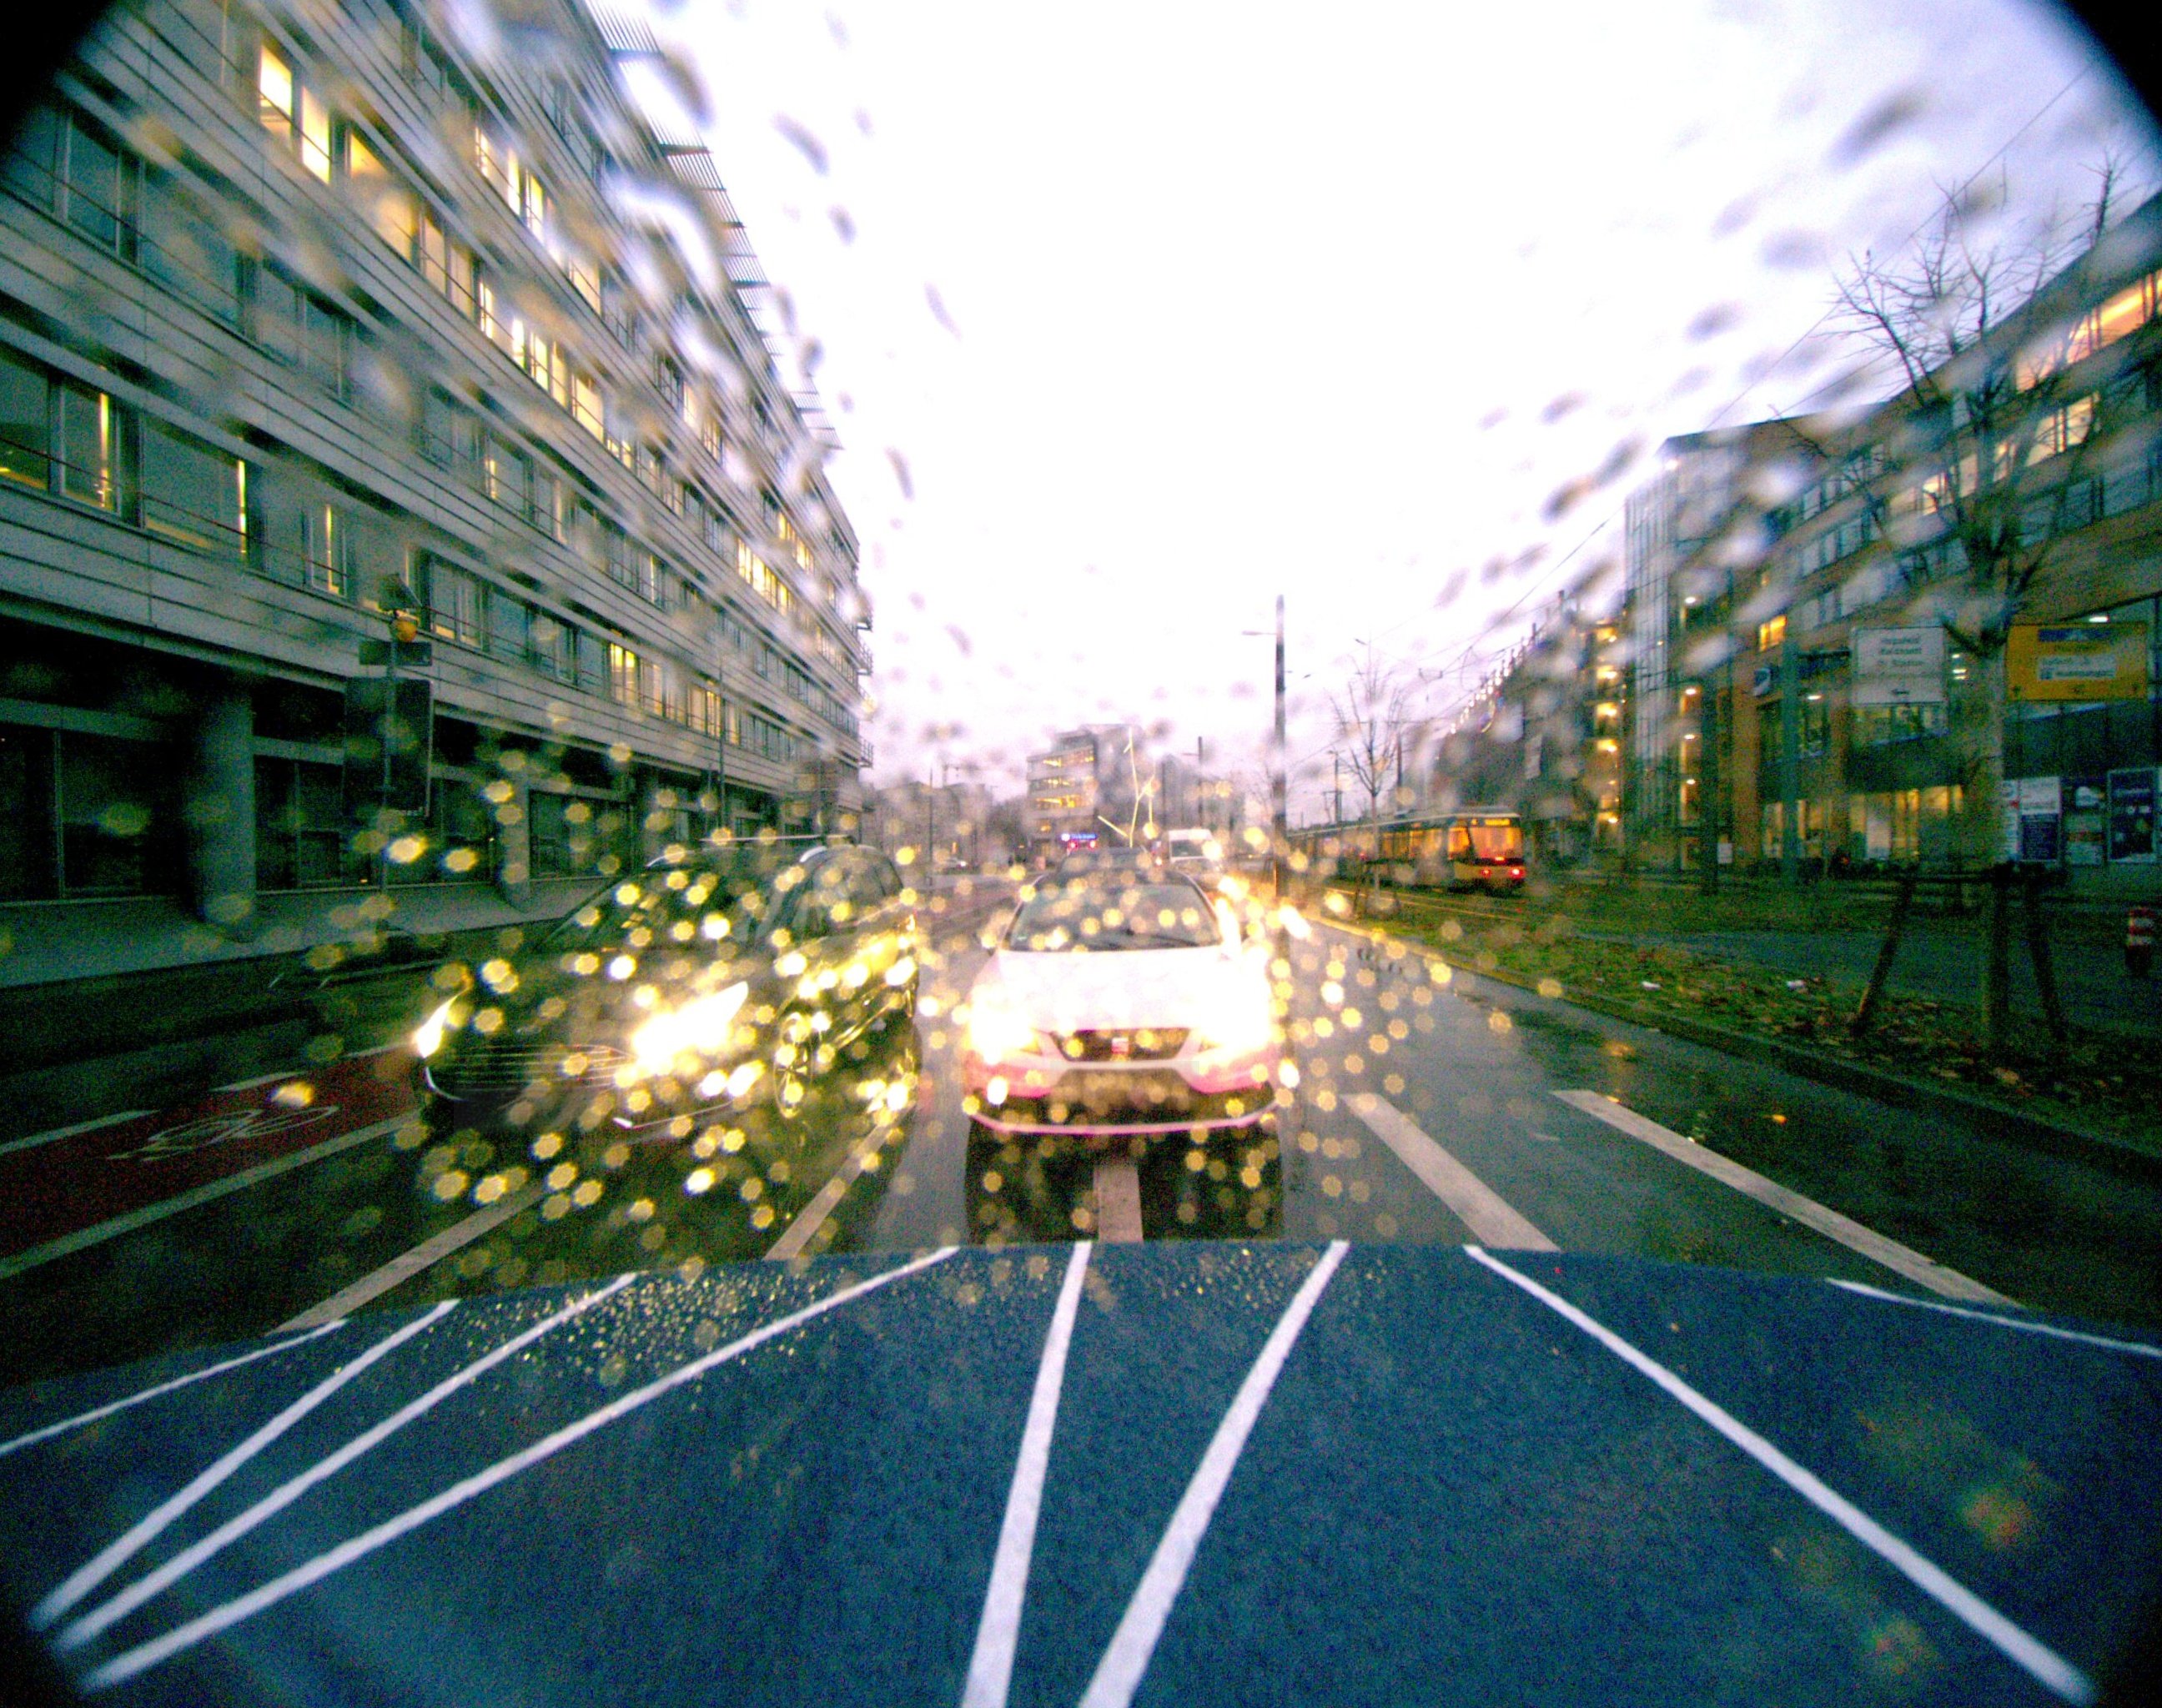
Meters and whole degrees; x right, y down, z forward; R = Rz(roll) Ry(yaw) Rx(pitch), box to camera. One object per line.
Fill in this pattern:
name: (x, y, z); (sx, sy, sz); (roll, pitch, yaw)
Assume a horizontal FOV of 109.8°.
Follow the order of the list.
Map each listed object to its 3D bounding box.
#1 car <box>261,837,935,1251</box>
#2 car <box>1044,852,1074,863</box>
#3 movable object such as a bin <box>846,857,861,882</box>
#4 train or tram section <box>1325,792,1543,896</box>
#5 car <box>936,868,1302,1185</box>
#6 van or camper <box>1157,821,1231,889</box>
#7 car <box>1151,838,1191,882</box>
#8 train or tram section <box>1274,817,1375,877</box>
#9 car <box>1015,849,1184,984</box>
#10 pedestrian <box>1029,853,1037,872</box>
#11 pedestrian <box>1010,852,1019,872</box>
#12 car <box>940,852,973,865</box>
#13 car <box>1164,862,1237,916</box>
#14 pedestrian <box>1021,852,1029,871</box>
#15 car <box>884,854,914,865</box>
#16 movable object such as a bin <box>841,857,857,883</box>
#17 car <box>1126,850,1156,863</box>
car: (-2.607, 0.848, 5.714); (1.887, 1.800, 4.671); (-2, 0, 2)
car: (-3.132, 0.467, 108.076); (3.759, 1.528, 1.782); (0, 0, 17)
movable object such as a bin: (-13.248, 0.919, 44.277); (0.666, 1.420, 0.840); (-1, 1, -2)
train or tram section: (15.356, -0.411, 36.032); (2.870, 3.593, 19.219); (0, 0, 5)
car: (0.214, 0.889, 5.709); (1.782, 1.464, 3.943); (-1, 0, 1)
van or camper: (4.524, 0.030, 31.401); (2.153, 2.517, 5.898); (-1, 0, 0)
car: (6.159, 0.351, 52.596); (2.129, 2.847, 5.813); (-1, 0, 1)
train or tram section: (17.127, -0.490, 55.546); (2.870, 3.593, 20.078); (0, 0, 5)
car: (0.277, 0.806, 12.163); (2.169, 1.744, 4.542); (-1, 0, 1)
pedestrian: (-4.266, 0.715, 67.650); (0.616, 1.659, 0.884); (1, 1, -3)
pedestrian: (-5.958, 0.722, 67.925); (0.747, 1.692, 0.969); (2, 1, -3)
car: (-18.532, 0.665, 112.858); (4.368, 1.750, 2.002); (-1, 1, 17)
car: (3.485, 0.985, 22.827); (1.759, 1.337, 4.056); (-1, 1, 3)
pedestrian: (-5.017, 0.682, 67.608); (0.651, 1.692, 0.884); (1, 1, -3)
car: (-27.839, 0.827, 116.068); (3.996, 1.663, 2.002); (-1, 1, 17)
movable object such as a bin: (-13.253, 0.906, 43.380); (0.666, 1.420, 0.840); (-1, 1, -2)
car: (8.221, 0.301, 104.340); (3.918, 1.699, 1.782); (-1, 1, 13)
